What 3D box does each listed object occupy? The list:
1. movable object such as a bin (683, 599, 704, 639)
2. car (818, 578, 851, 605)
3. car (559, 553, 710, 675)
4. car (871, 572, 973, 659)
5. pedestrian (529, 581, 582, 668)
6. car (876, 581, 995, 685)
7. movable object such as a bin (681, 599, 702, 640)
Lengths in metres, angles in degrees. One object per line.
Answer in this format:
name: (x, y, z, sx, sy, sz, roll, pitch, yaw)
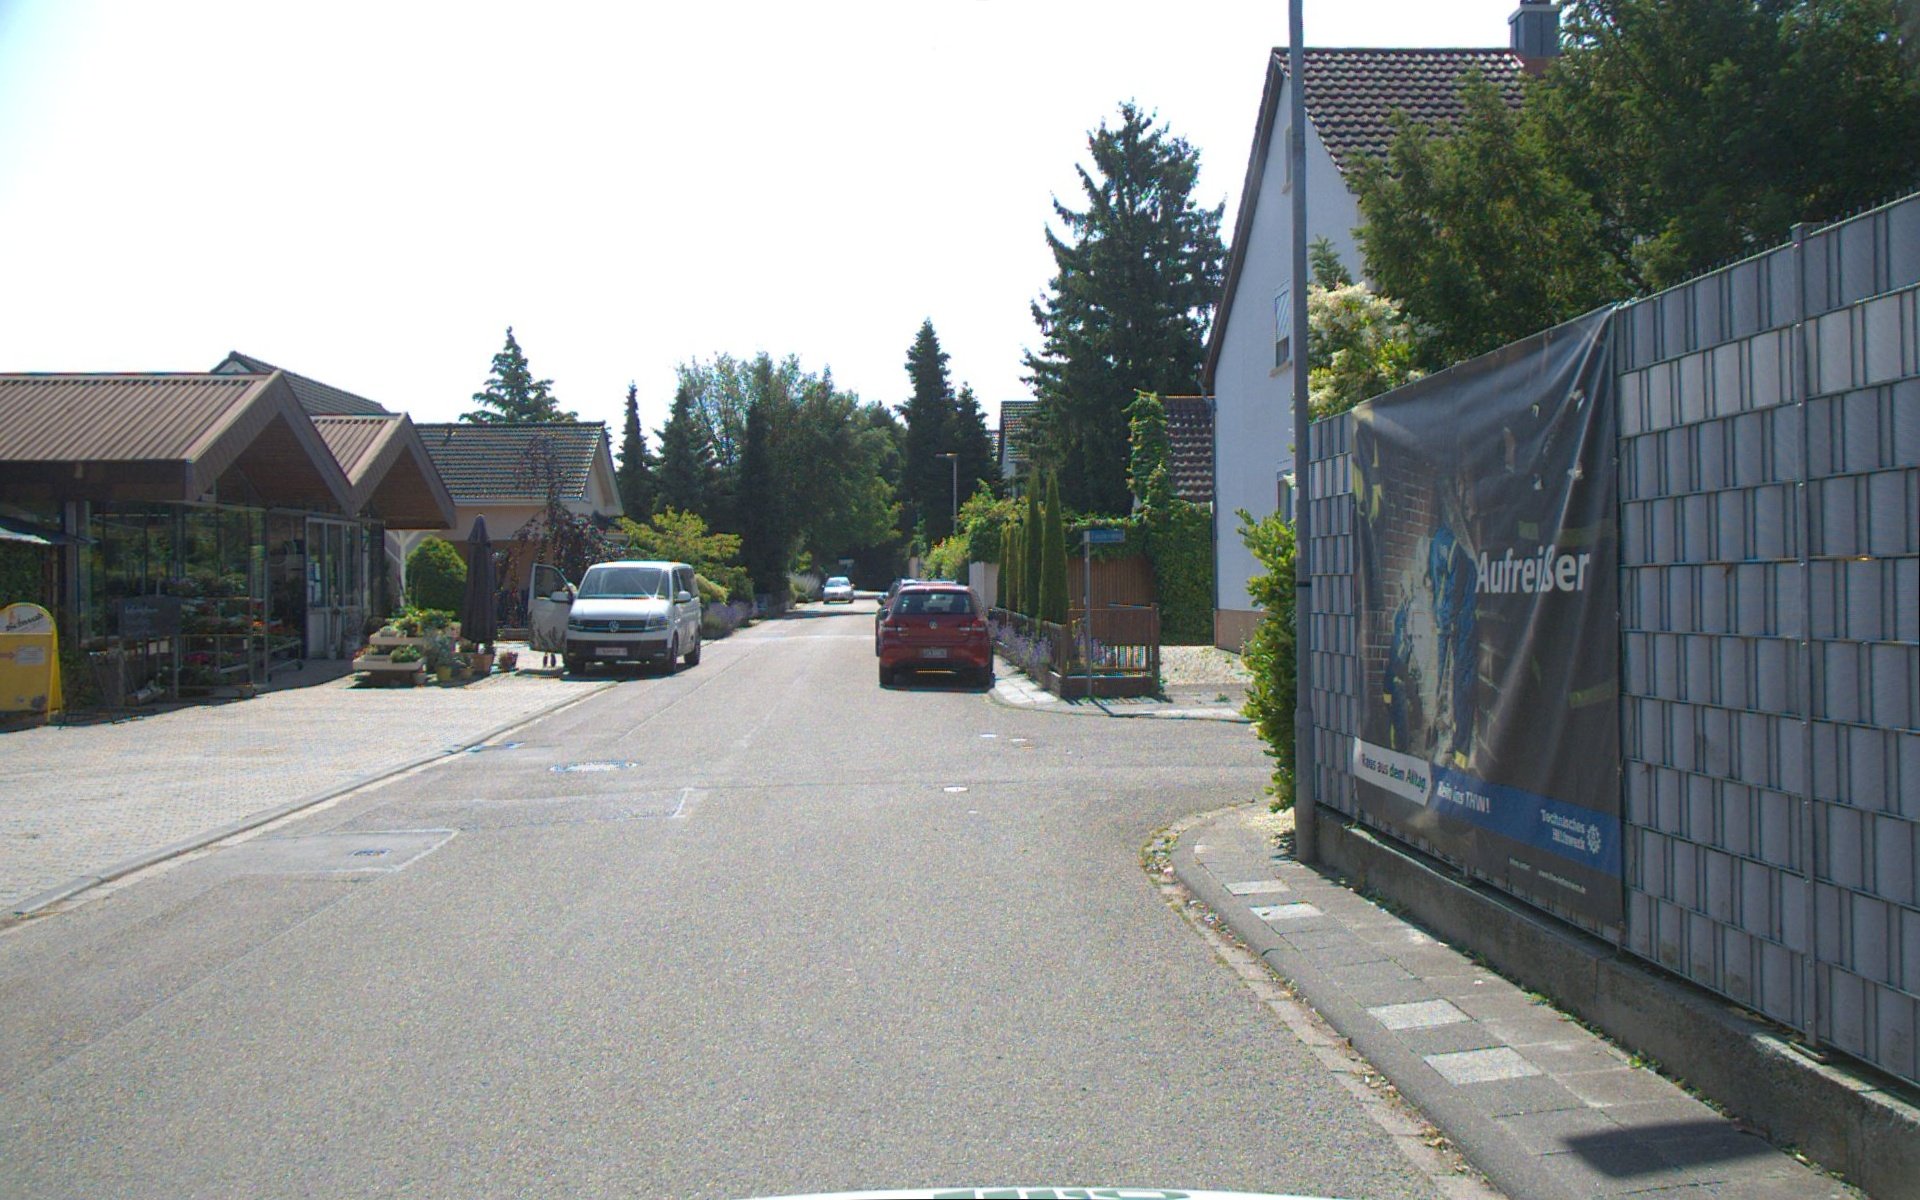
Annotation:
movable object such as a bin: (-7.098, 0.502, 44.065, 0.484, 1.042, 0.447, -1, 1, -3)
car: (-7.306, -0.490, 96.267, 1.717, 1.513, 4.374, -1, 1, -2)
car: (-5.882, 0.213, 30.477, 1.890, 2.049, 4.895, -1, 1, -1)
car: (-0.823, 0.270, 33.245, 1.787, 1.643, 3.996, 0, 1, -5)
pedestrian: (-7.446, 0.437, 30.451, 0.704, 1.565, 0.641, 0, 1, 30)
car: (-0.345, 0.460, 26.405, 1.739, 1.505, 4.000, 1, 1, 0)
movable object such as a bin: (-7.078, 0.515, 43.604, 0.484, 1.042, 0.447, -1, 1, -3)
